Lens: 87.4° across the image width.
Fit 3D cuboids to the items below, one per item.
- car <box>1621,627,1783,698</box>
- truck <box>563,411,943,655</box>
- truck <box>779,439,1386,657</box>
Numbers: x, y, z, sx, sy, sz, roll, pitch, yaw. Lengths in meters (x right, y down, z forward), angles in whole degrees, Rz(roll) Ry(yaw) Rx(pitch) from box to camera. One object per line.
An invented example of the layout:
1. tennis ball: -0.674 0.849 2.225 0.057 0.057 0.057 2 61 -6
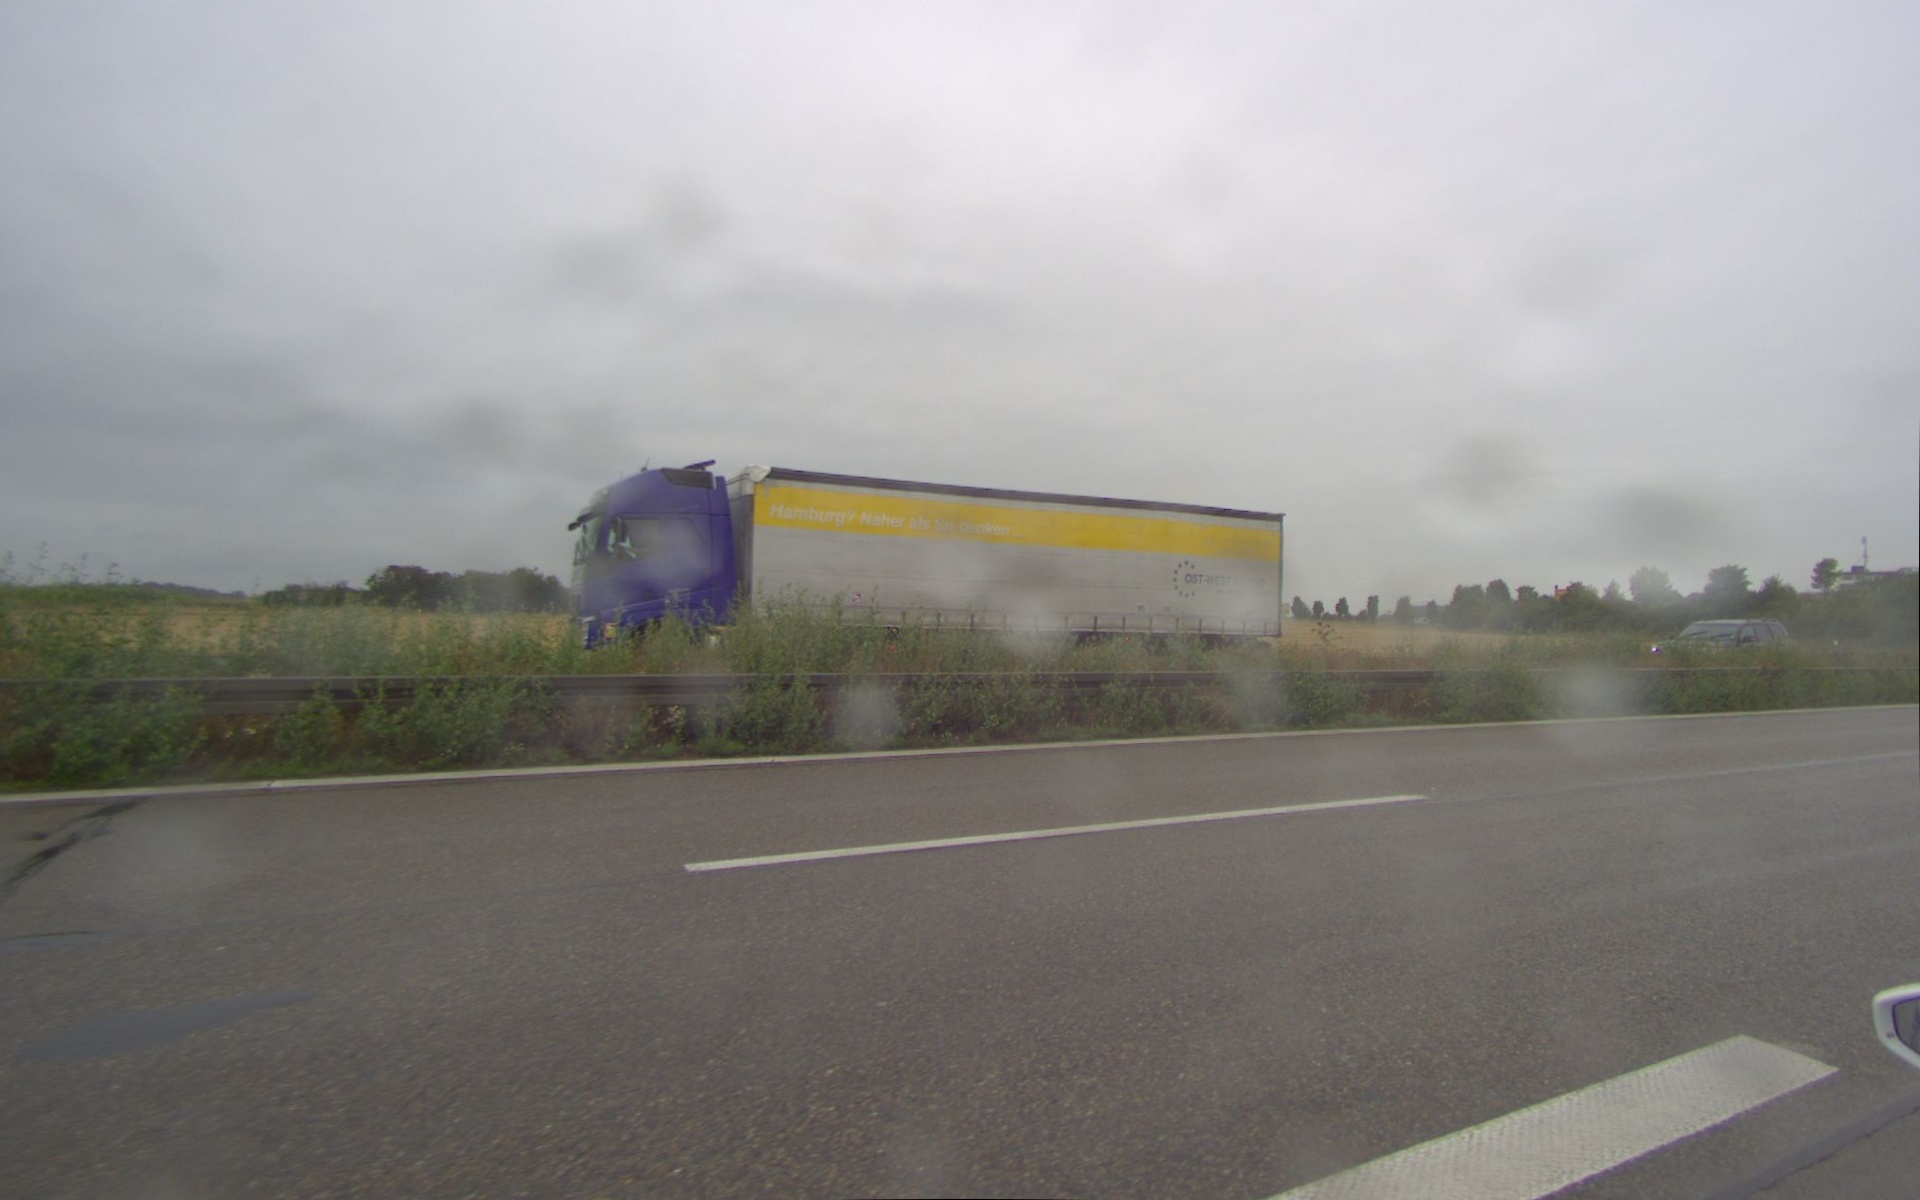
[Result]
1. car: 21.780 1.797 29.457 4.642 1.900 2.096 2 -1 -29
2. truck: -4.040 -1.093 19.699 6.580 4.020 3.181 2 2 -28
3. truck: 3.552 -0.827 23.831 15.128 4.020 3.180 2 2 -28
